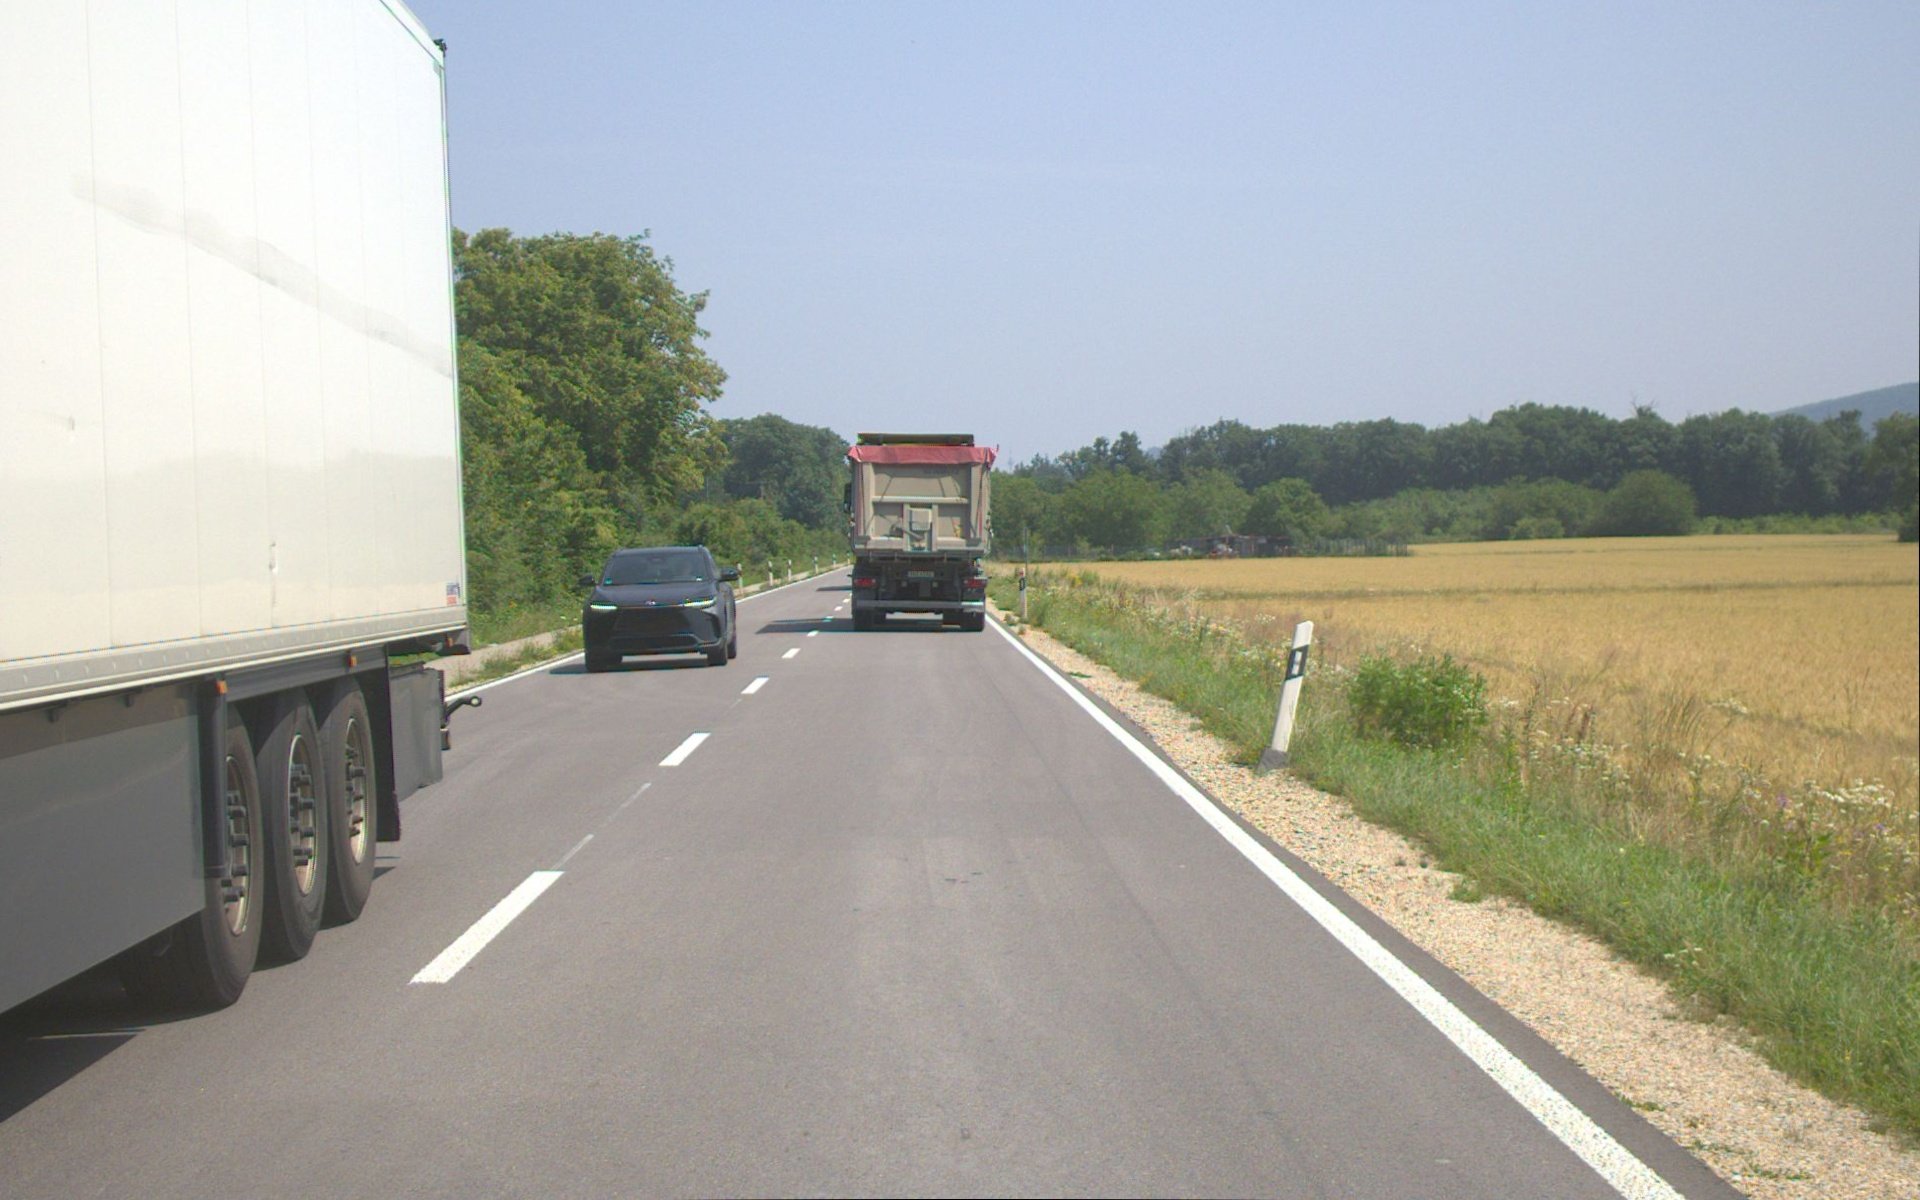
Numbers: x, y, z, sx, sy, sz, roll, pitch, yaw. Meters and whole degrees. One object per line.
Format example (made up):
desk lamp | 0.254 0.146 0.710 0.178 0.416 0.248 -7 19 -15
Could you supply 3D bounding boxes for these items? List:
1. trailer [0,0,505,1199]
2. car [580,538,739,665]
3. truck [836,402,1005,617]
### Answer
trailer | -3.621 -0.612 10.783 2.653 3.963 13.355 -2 1 -1
car | -4.013 -0.022 46.535 1.792 1.568 4.479 -2 1 -1
truck | -0.791 -1.689 68.349 3.009 3.861 12.210 1 0 -1
